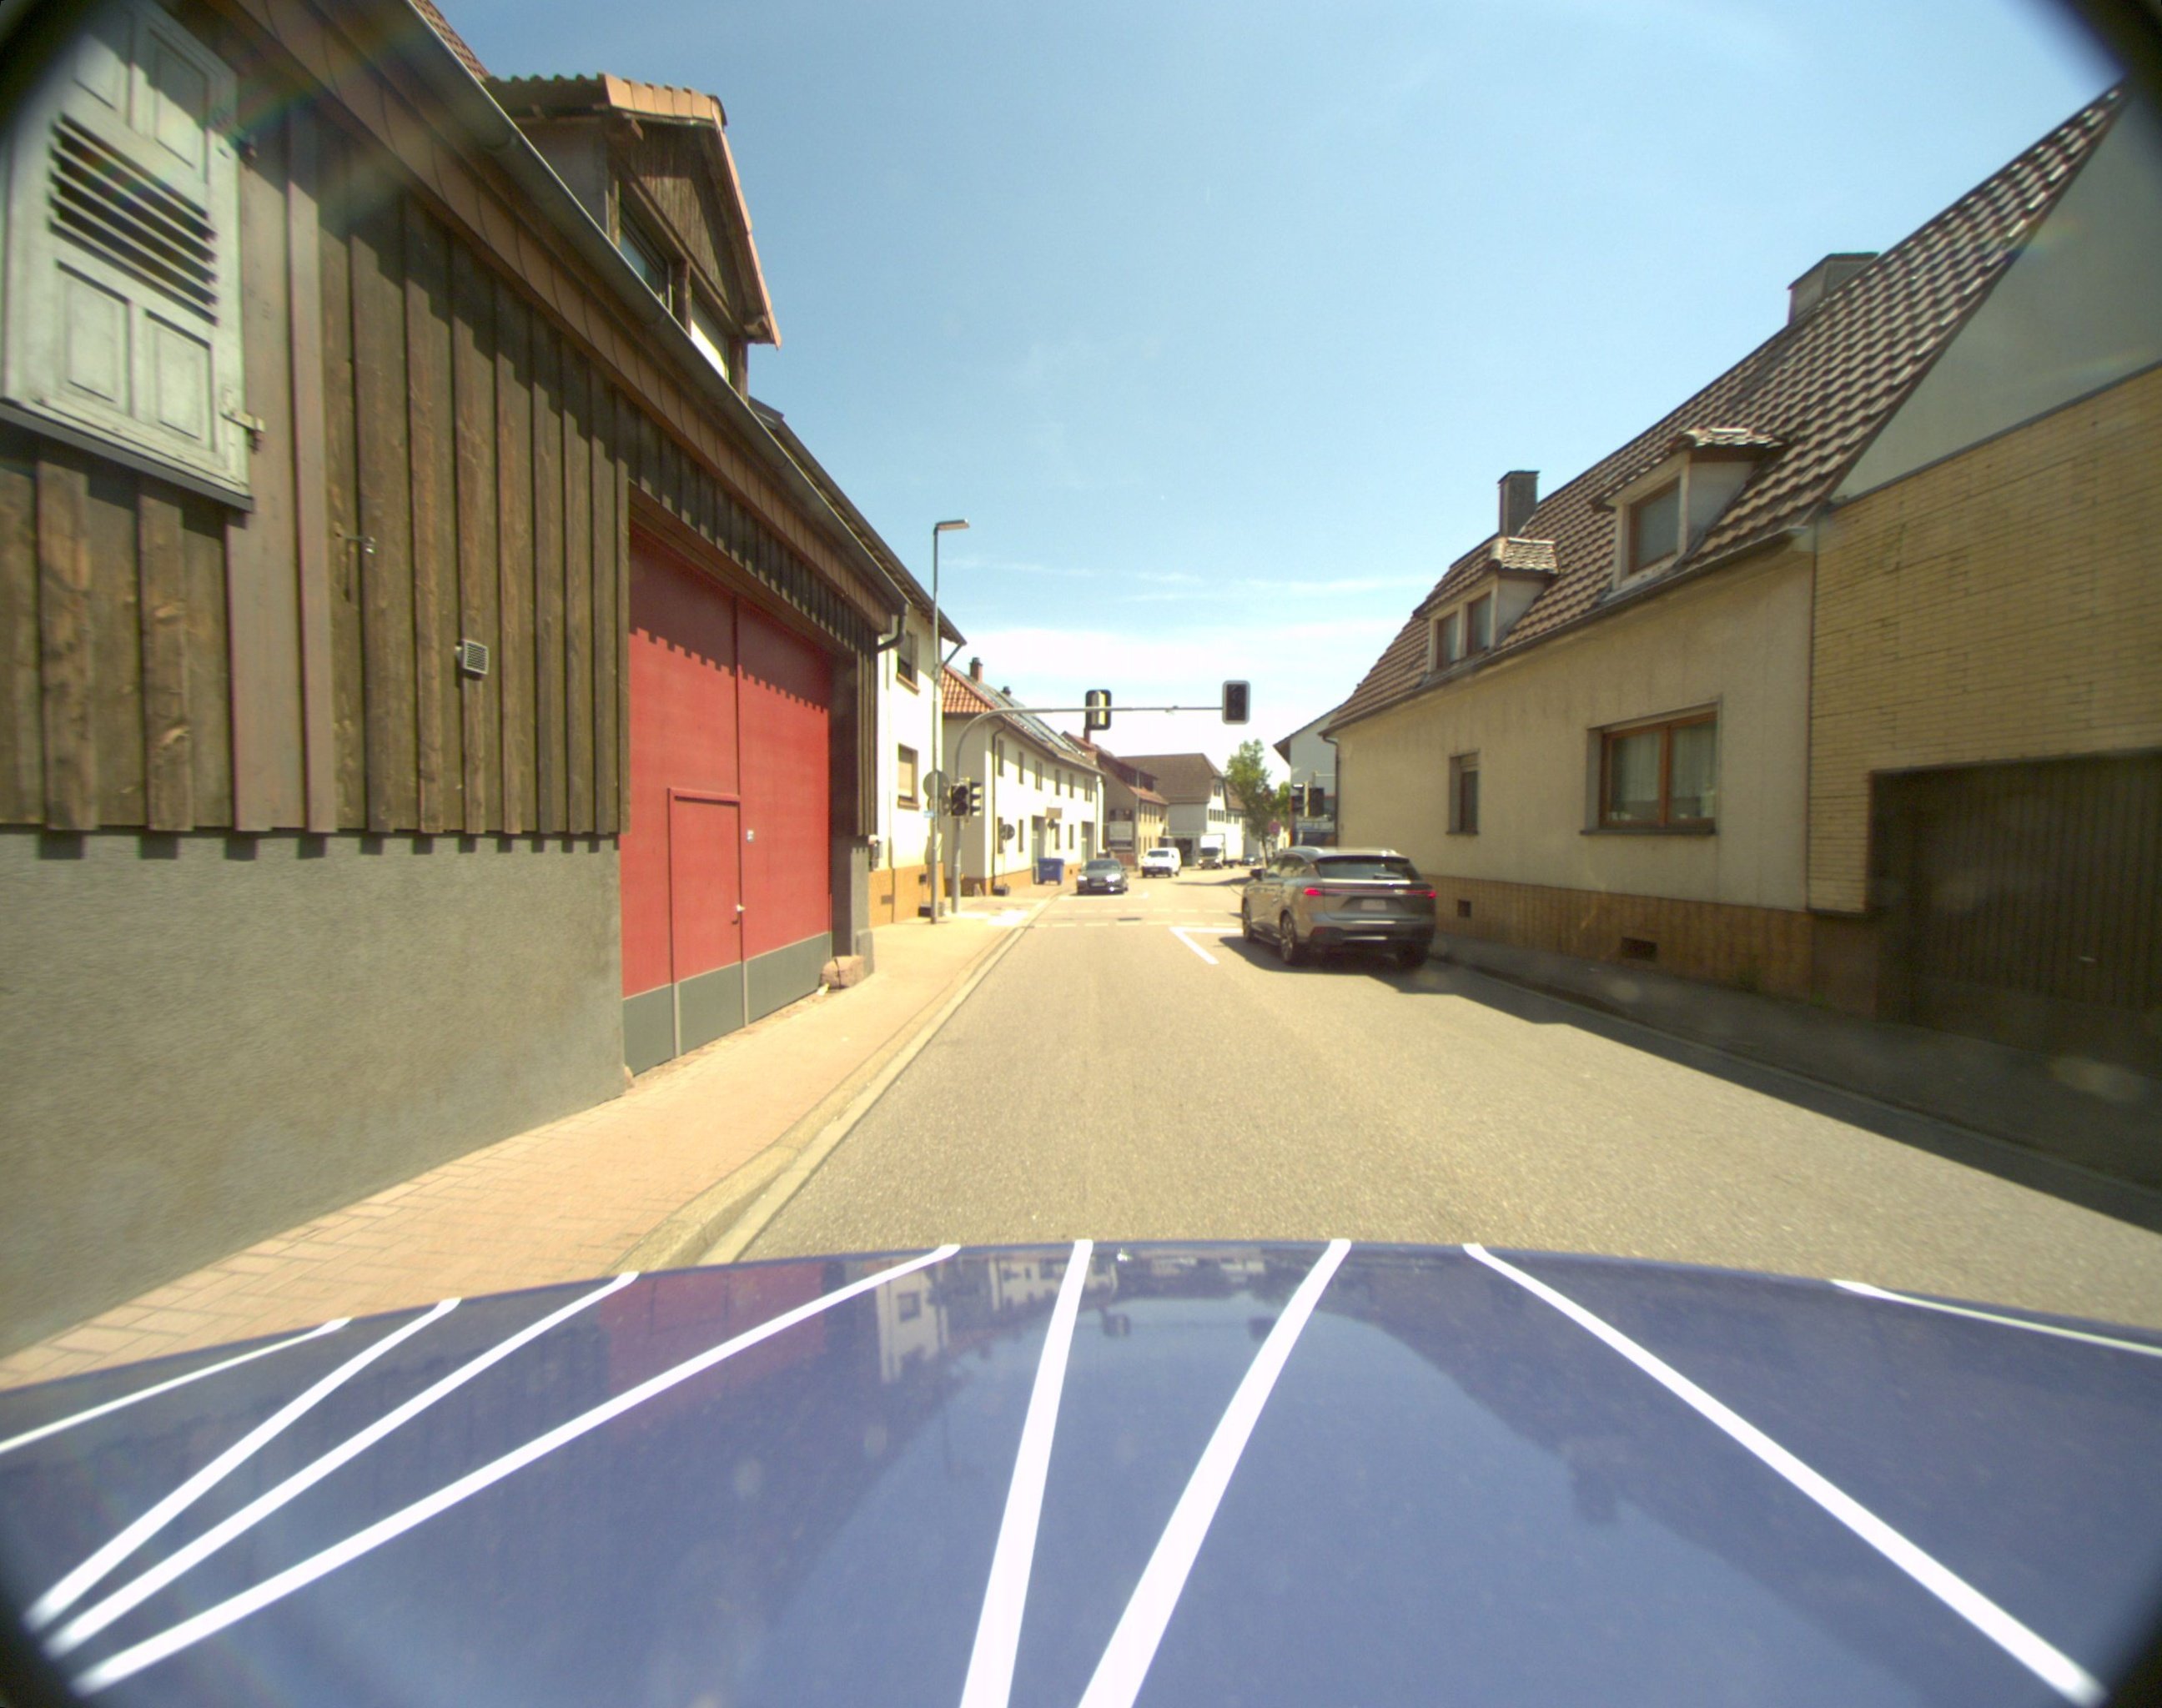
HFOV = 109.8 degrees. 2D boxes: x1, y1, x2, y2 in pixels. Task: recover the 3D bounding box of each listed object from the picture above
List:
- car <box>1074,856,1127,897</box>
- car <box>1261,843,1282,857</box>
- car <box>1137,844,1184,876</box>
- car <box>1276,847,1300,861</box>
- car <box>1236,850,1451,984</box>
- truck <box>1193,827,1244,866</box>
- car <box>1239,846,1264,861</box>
[{"bbox_3d":[0.810,0.830,29.153,1.785,1.365,3.607,0,1,5],"label":"car"},{"bbox_3d":[24.679,-0.518,98.380,1.995,1.608,4.006,-1,1,24],"label":"car"},{"bbox_3d":[5.390,0.339,50.690,2.076,1.949,5.524,0,2,17],"label":"car"},{"bbox_3d":[22.610,-0.066,82.780,1.783,1.421,4.147,0,2,26],"label":"car"},{"bbox_3d":[3.659,0.764,11.474,1.834,1.612,4.260,0,1,1],"label":"car"},{"bbox_3d":[13.331,-0.777,73.089,2.862,3.493,8.332,2,2,24],"label":"truck"},{"bbox_3d":[18.719,-0.031,83.491,1.864,1.521,4.006,-1,1,24],"label":"car"}]
